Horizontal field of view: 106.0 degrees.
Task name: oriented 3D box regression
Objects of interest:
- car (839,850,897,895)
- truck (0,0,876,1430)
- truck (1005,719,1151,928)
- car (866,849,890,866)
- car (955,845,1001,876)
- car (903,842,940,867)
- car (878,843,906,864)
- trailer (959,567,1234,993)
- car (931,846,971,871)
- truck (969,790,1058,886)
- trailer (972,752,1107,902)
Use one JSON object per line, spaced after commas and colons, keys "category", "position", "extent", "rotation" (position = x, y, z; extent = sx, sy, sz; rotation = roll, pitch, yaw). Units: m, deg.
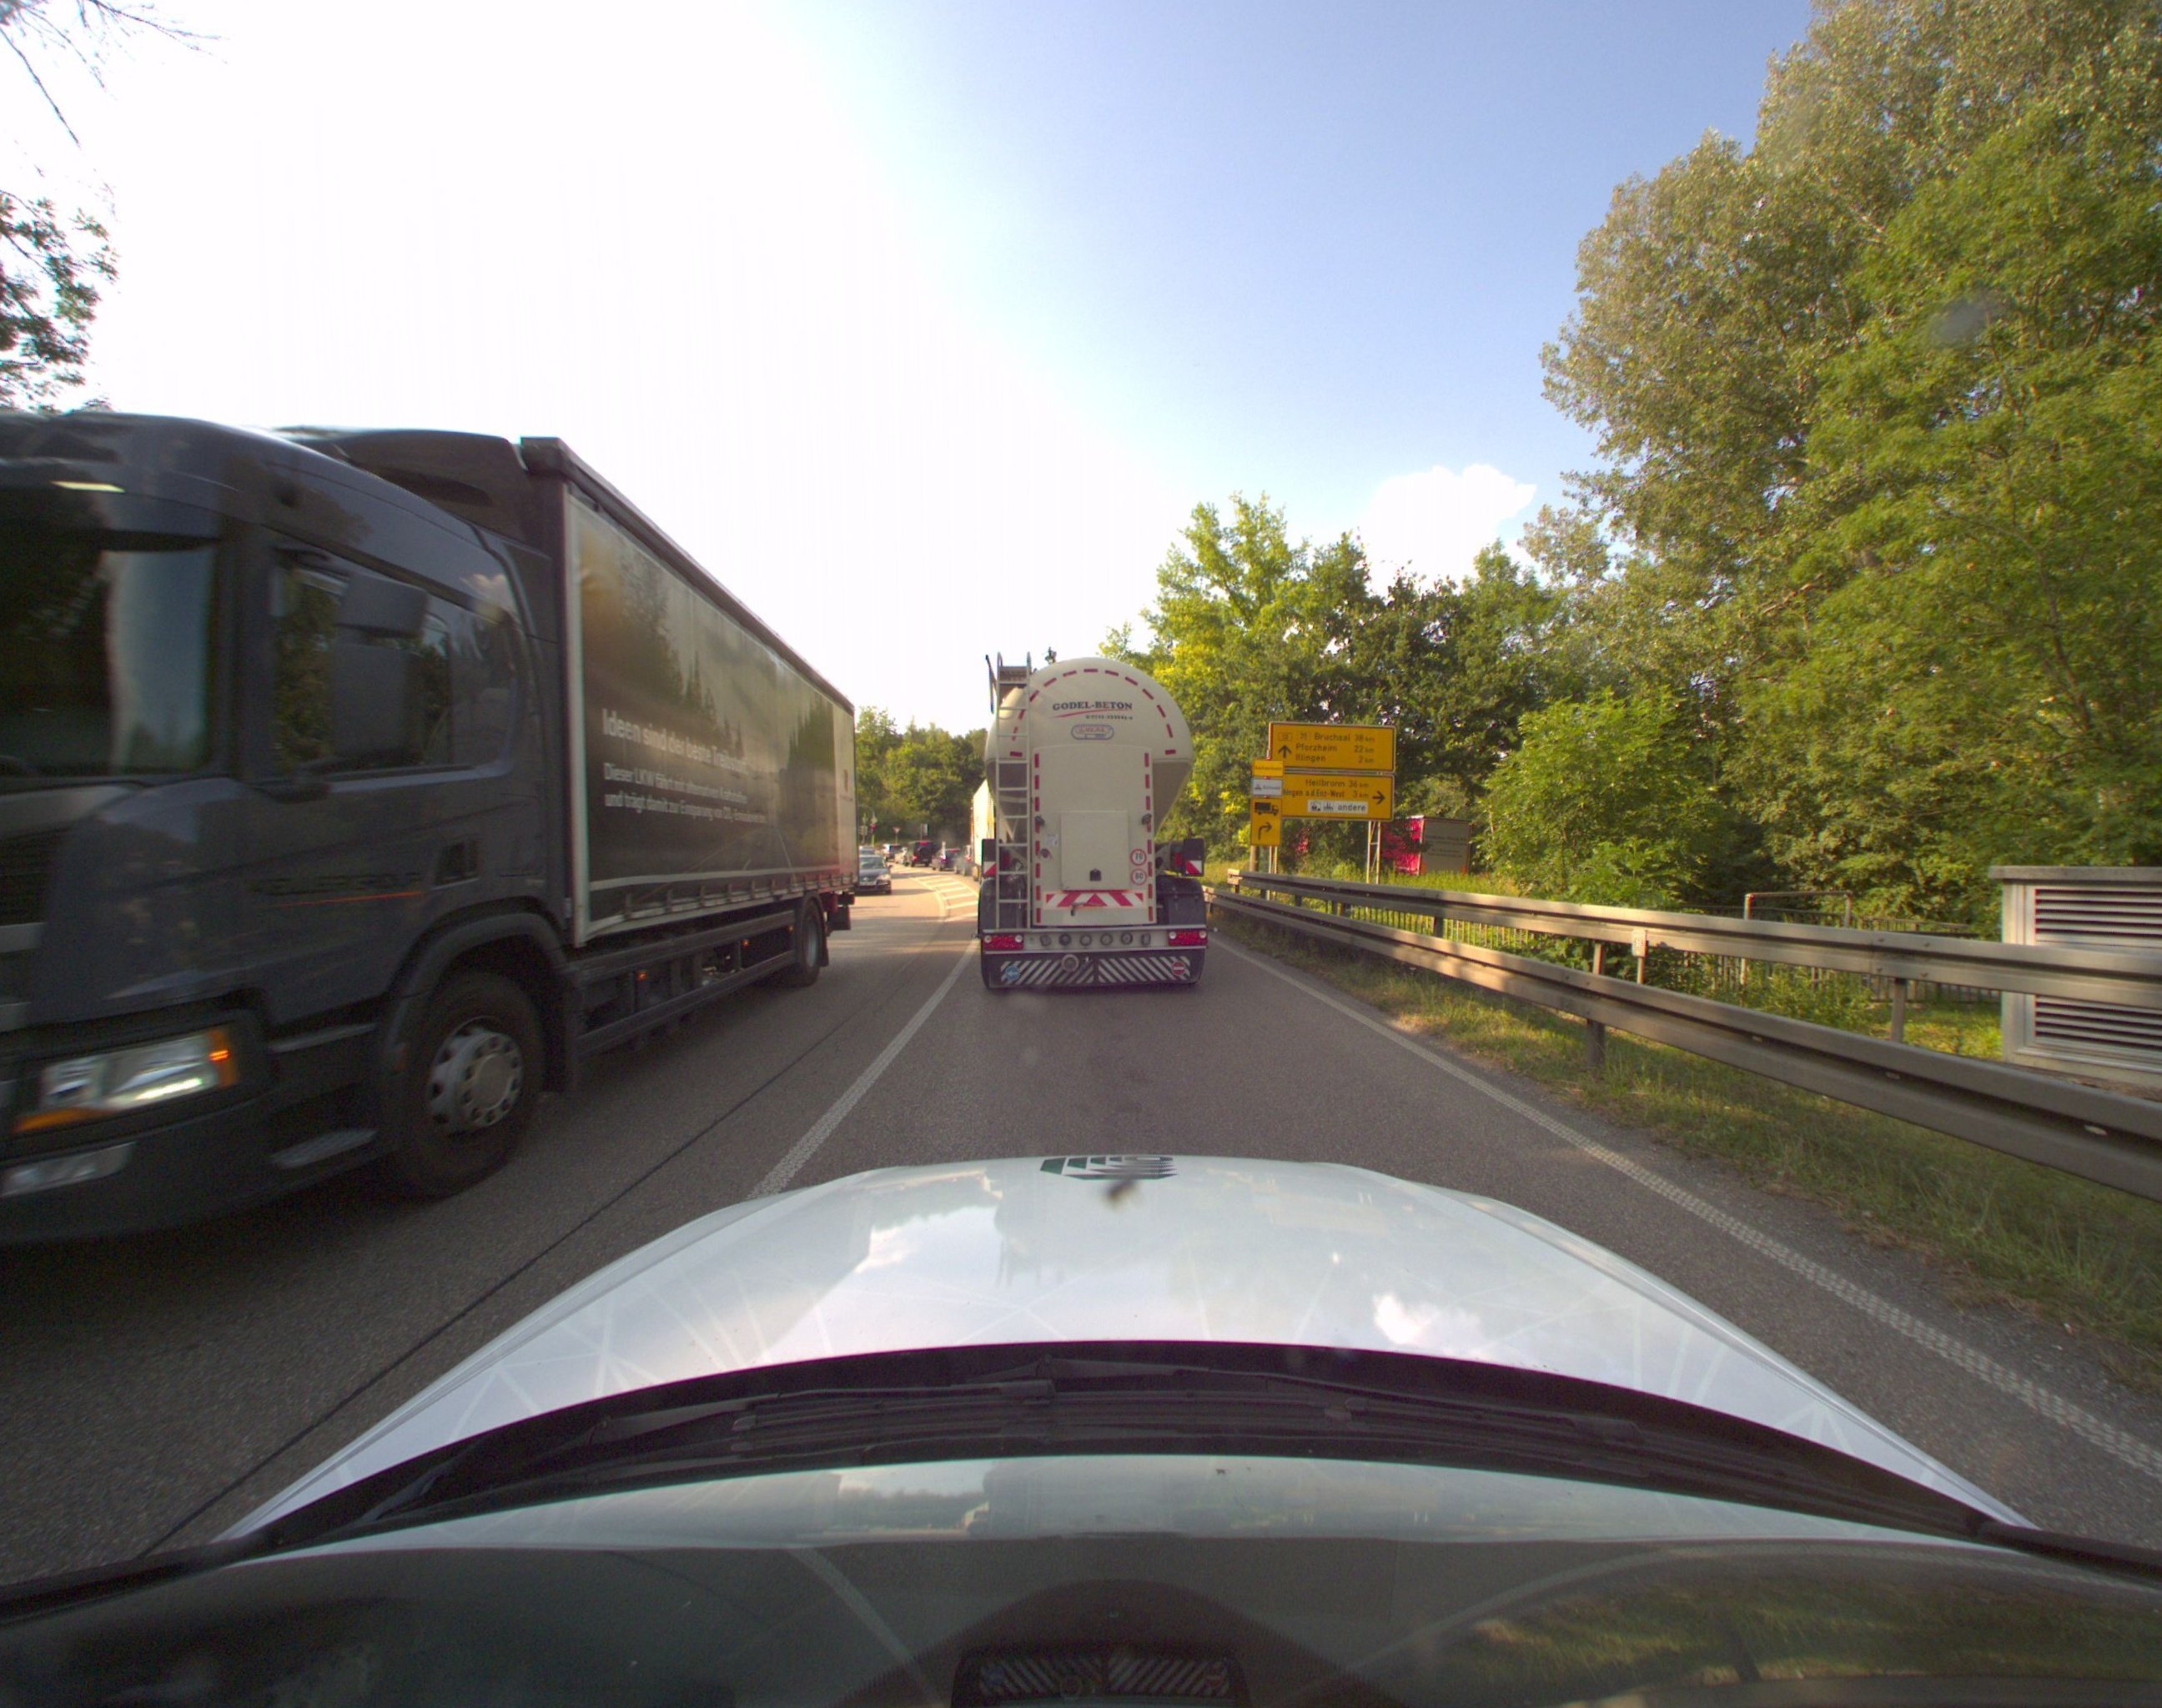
{"category": "car", "position": [-7.972, 0.640, 30.753], "extent": [1.869, 1.556, 3.984], "rotation": [1, 0, -12]}
{"category": "truck", "position": [-4.393, -0.500, 7.535], "extent": [3.006, 4.585, 10.225], "rotation": [-1, 0, -4]}
{"category": "truck", "position": [-0.286, -0.595, 18.738], "extent": [2.819, 4.035, 5.884], "rotation": [0, 0, -5]}
{"category": "car", "position": [-20.842, 0.336, 83.671], "extent": [1.667, 1.704, 3.968], "rotation": [1, 0, -24]}
{"category": "car", "position": [-5.881, 0.352, 46.038], "extent": [1.873, 1.628, 3.976], "rotation": [-2, 1, -18]}
{"category": "car", "position": [-12.342, 0.033, 62.767], "extent": [1.966, 1.851, 3.968], "rotation": [-2, 1, -24]}
{"category": "car", "position": [-17.667, -0.103, 75.917], "extent": [1.876, 1.851, 3.969], "rotation": [-2, 1, -23]}
{"category": "trailer", "position": [0.004, -0.778, 13.376], "extent": [2.879, 4.454, 9.597], "rotation": [0, 0, -2]}
{"category": "car", "position": [-8.631, 0.275, 53.991], "extent": [1.874, 1.564, 3.973], "rotation": [-2, 1, -20]}
{"category": "truck", "position": [-3.317, -0.711, 37.945], "extent": [3.452, 4.086, 6.466], "rotation": [0, 1, -11]}
{"category": "trailer", "position": [-2.075, -0.778, 31.109], "extent": [3.546, 4.513, 12.938], "rotation": [1, 0, -10]}
